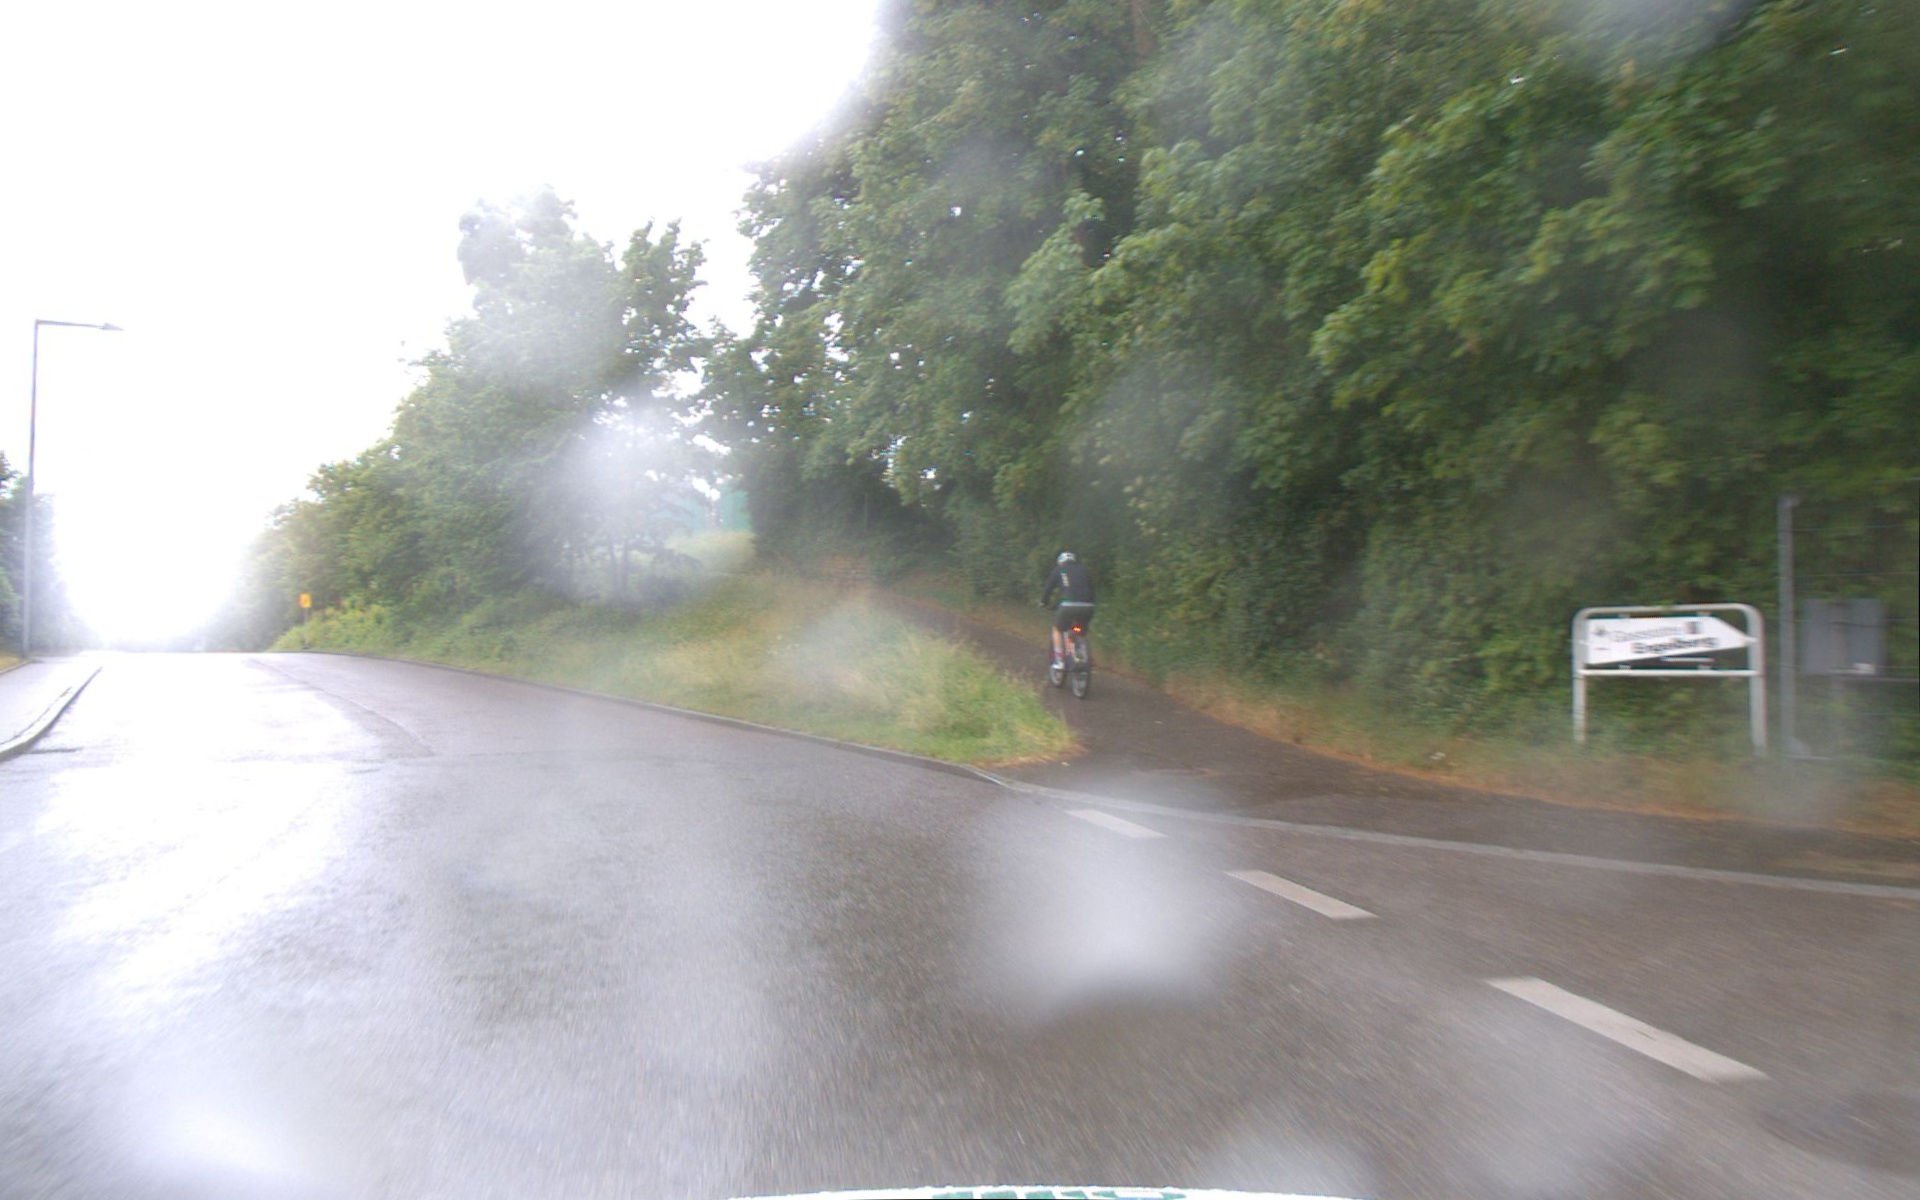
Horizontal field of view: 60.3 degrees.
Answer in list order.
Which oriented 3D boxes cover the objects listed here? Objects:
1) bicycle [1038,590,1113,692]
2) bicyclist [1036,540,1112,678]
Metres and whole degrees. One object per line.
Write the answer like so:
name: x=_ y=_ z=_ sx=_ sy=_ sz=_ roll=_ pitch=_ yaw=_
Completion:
bicycle: x=1.413 y=0.485 z=20.501 sx=0.518 sy=1.103 sz=1.617 roll=1 pitch=4 yaw=-11
bicyclist: x=1.410 y=0.099 z=20.558 sx=0.707 sy=1.642 sz=0.904 roll=1 pitch=4 yaw=-10
